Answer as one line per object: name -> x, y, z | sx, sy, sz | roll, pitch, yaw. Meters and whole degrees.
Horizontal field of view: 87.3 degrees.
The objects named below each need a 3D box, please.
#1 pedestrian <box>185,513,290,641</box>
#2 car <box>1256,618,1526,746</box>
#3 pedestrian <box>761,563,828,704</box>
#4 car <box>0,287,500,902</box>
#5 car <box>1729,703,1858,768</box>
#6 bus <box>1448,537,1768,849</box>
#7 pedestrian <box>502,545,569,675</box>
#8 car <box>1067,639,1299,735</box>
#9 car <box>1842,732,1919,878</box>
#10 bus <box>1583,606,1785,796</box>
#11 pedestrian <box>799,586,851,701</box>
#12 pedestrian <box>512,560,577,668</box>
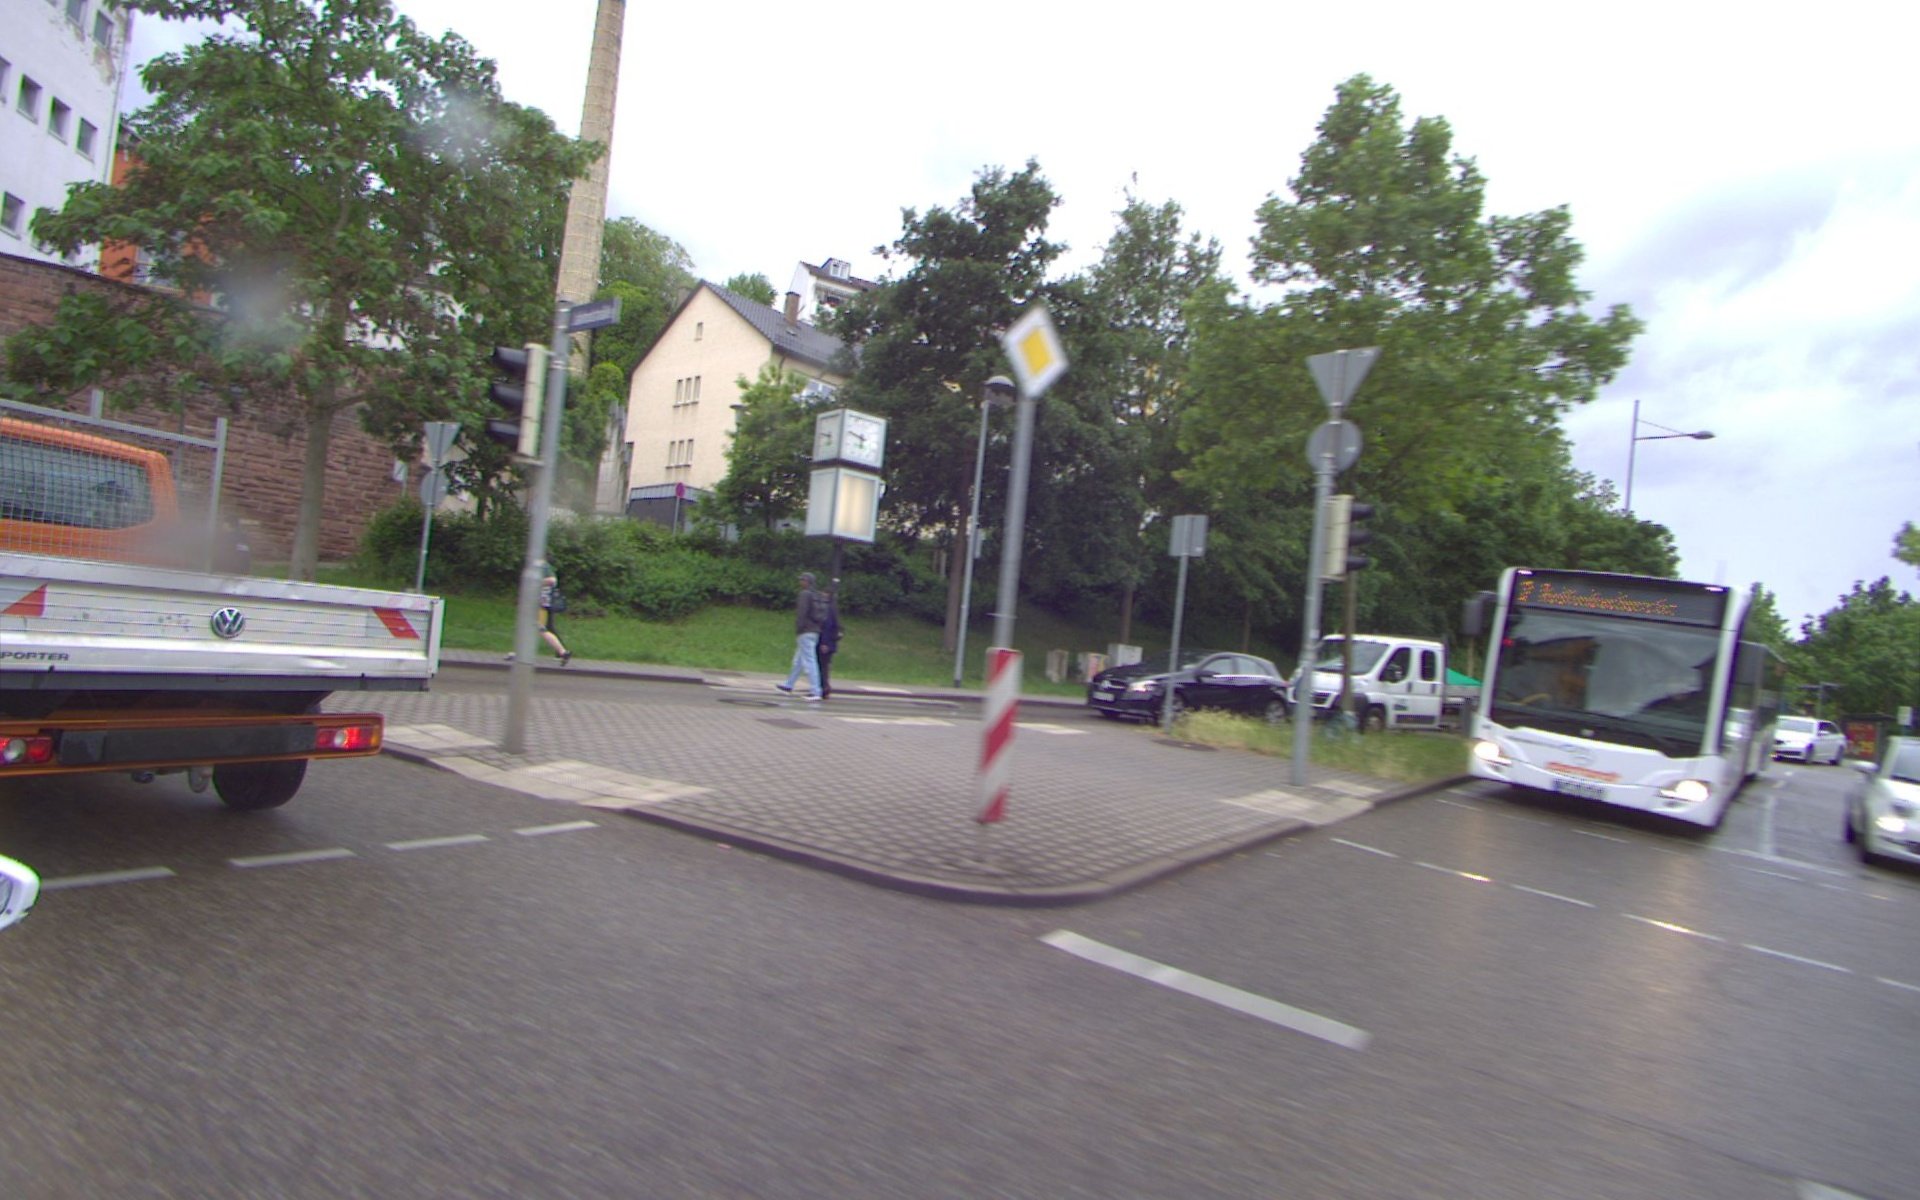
pedestrian -> -10.527, -0.333, 14.689 | 0.949, 1.707, 0.570 | 7, 1, -17
car -> 9.664, 1.865, 22.325 | 6.276, 2.260, 2.238 | 7, -2, -32
pedestrian -> -2.512, 0.502, 15.237 | 0.774, 2.038, 0.587 | 6, 0, -13
car -> -5.362, -0.076, 5.473 | 5.446, 2.111, 2.109 | 4, -4, 28
car -> 27.938, 4.551, 33.677 | 4.829, 1.671, 1.983 | 8, -3, -34
bus -> 10.260, 1.390, 15.231 | 2.667, 3.255, 9.618 | 6, -2, 40
pedestrian -> -6.367, 0.139, 15.090 | 0.686, 1.853, 0.737 | 5, 1, -32
car -> 4.186, 1.639, 18.716 | 4.053, 1.390, 1.782 | 7, -2, -31
car -> 11.565, 2.434, 11.797 | 1.567, 1.468, 3.557 | 6, -3, 39
bus -> 16.127, 2.218, 22.077 | 2.650, 3.218, 8.523 | 6, -2, 41
pedestrian -> -2.117, 0.684, 15.799 | 0.518, 1.727, 0.558 | 6, 0, 6
pedestrian -> -6.555, 0.221, 15.870 | 0.700, 1.620, 0.596 | 4, 2, -38
